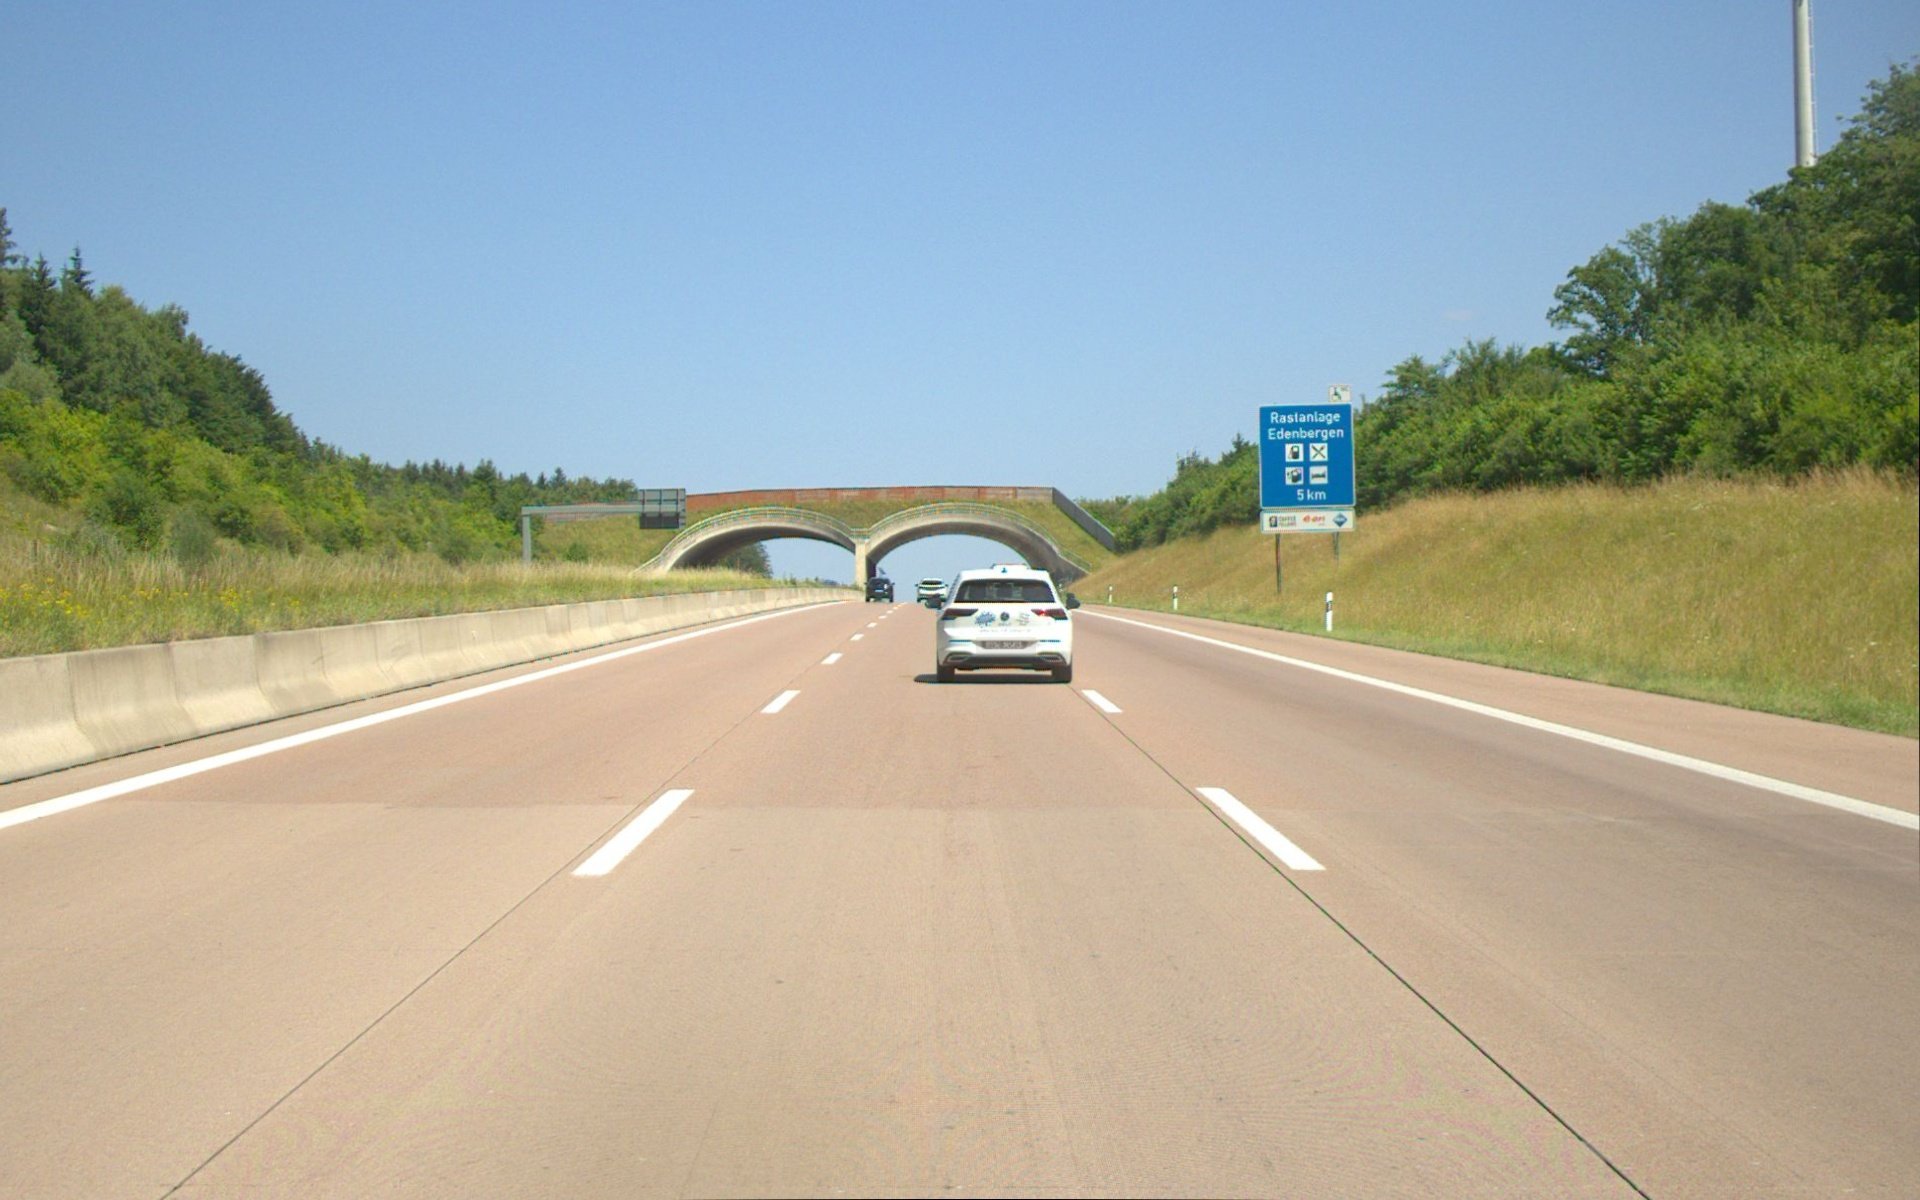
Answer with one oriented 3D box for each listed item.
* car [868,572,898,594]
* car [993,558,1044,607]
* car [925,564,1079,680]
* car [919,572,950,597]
[{"bbox_3d":[-5.350,-1.220,239.927,1.891,1.458,4.000,0,1,2],"label":"car"},{"bbox_3d":[2.536,-0.759,148.067,2.110,2.047,4.000,0,1,2],"label":"car"},{"bbox_3d":[0.582,0.252,44.740,1.891,1.393,4.000,1,1,2],"label":"car"},{"bbox_3d":[-1.570,-0.972,213.283,1.891,1.458,4.000,1,1,0],"label":"car"}]
